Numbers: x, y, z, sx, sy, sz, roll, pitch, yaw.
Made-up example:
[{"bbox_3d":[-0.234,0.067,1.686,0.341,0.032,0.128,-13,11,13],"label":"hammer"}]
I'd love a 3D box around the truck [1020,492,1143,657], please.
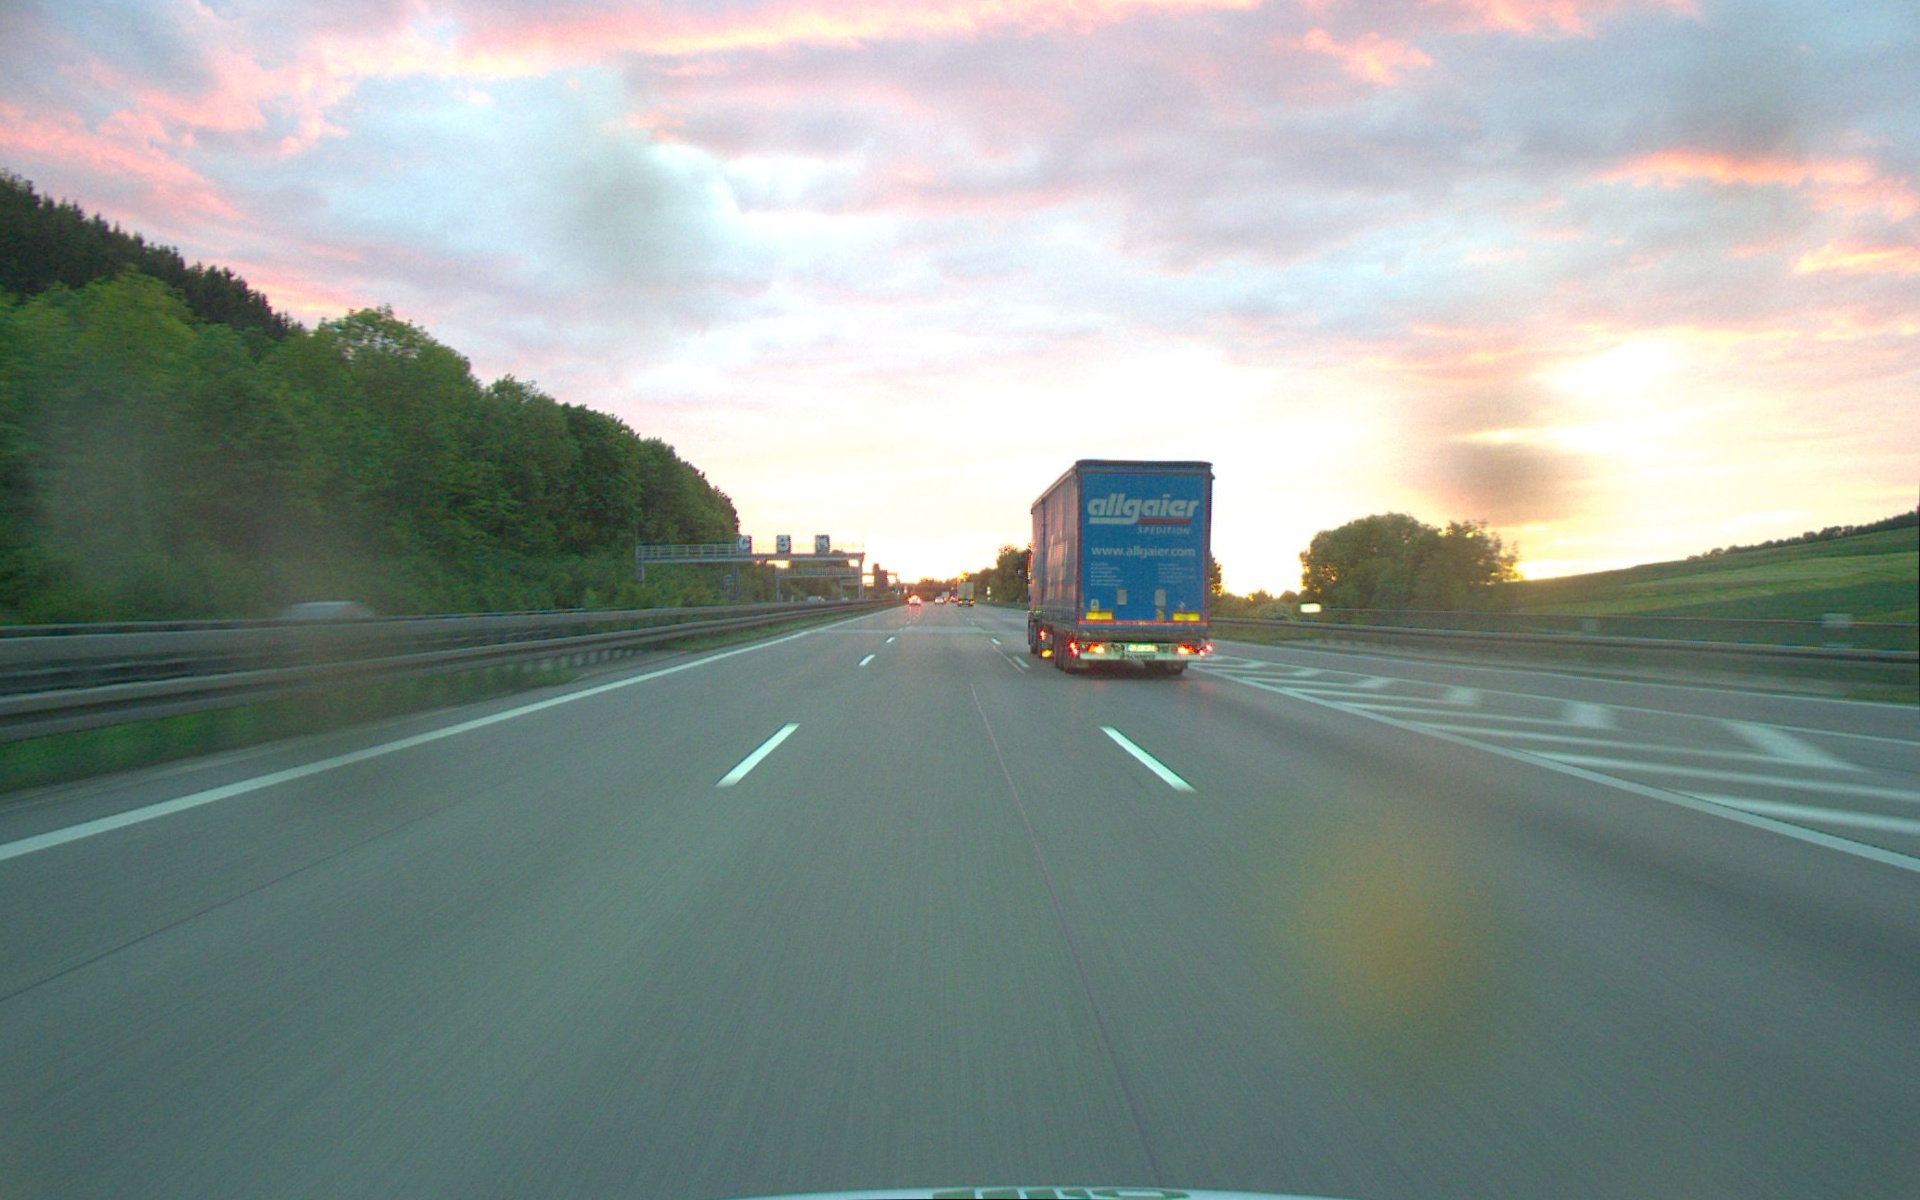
[{"bbox_3d":[3.135,-0.636,44.025,2.681,4.066,5.847,1,0,-1],"label":"truck"}]

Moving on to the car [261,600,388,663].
[{"bbox_3d":[-17.088,0.809,44.705,1.694,1.614,4.644,0,0,-1],"label":"car"}]

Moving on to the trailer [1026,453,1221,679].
[{"bbox_3d":[3.322,-0.624,37.582,2.716,4.158,13.735,1,0,-1],"label":"trailer"}]
